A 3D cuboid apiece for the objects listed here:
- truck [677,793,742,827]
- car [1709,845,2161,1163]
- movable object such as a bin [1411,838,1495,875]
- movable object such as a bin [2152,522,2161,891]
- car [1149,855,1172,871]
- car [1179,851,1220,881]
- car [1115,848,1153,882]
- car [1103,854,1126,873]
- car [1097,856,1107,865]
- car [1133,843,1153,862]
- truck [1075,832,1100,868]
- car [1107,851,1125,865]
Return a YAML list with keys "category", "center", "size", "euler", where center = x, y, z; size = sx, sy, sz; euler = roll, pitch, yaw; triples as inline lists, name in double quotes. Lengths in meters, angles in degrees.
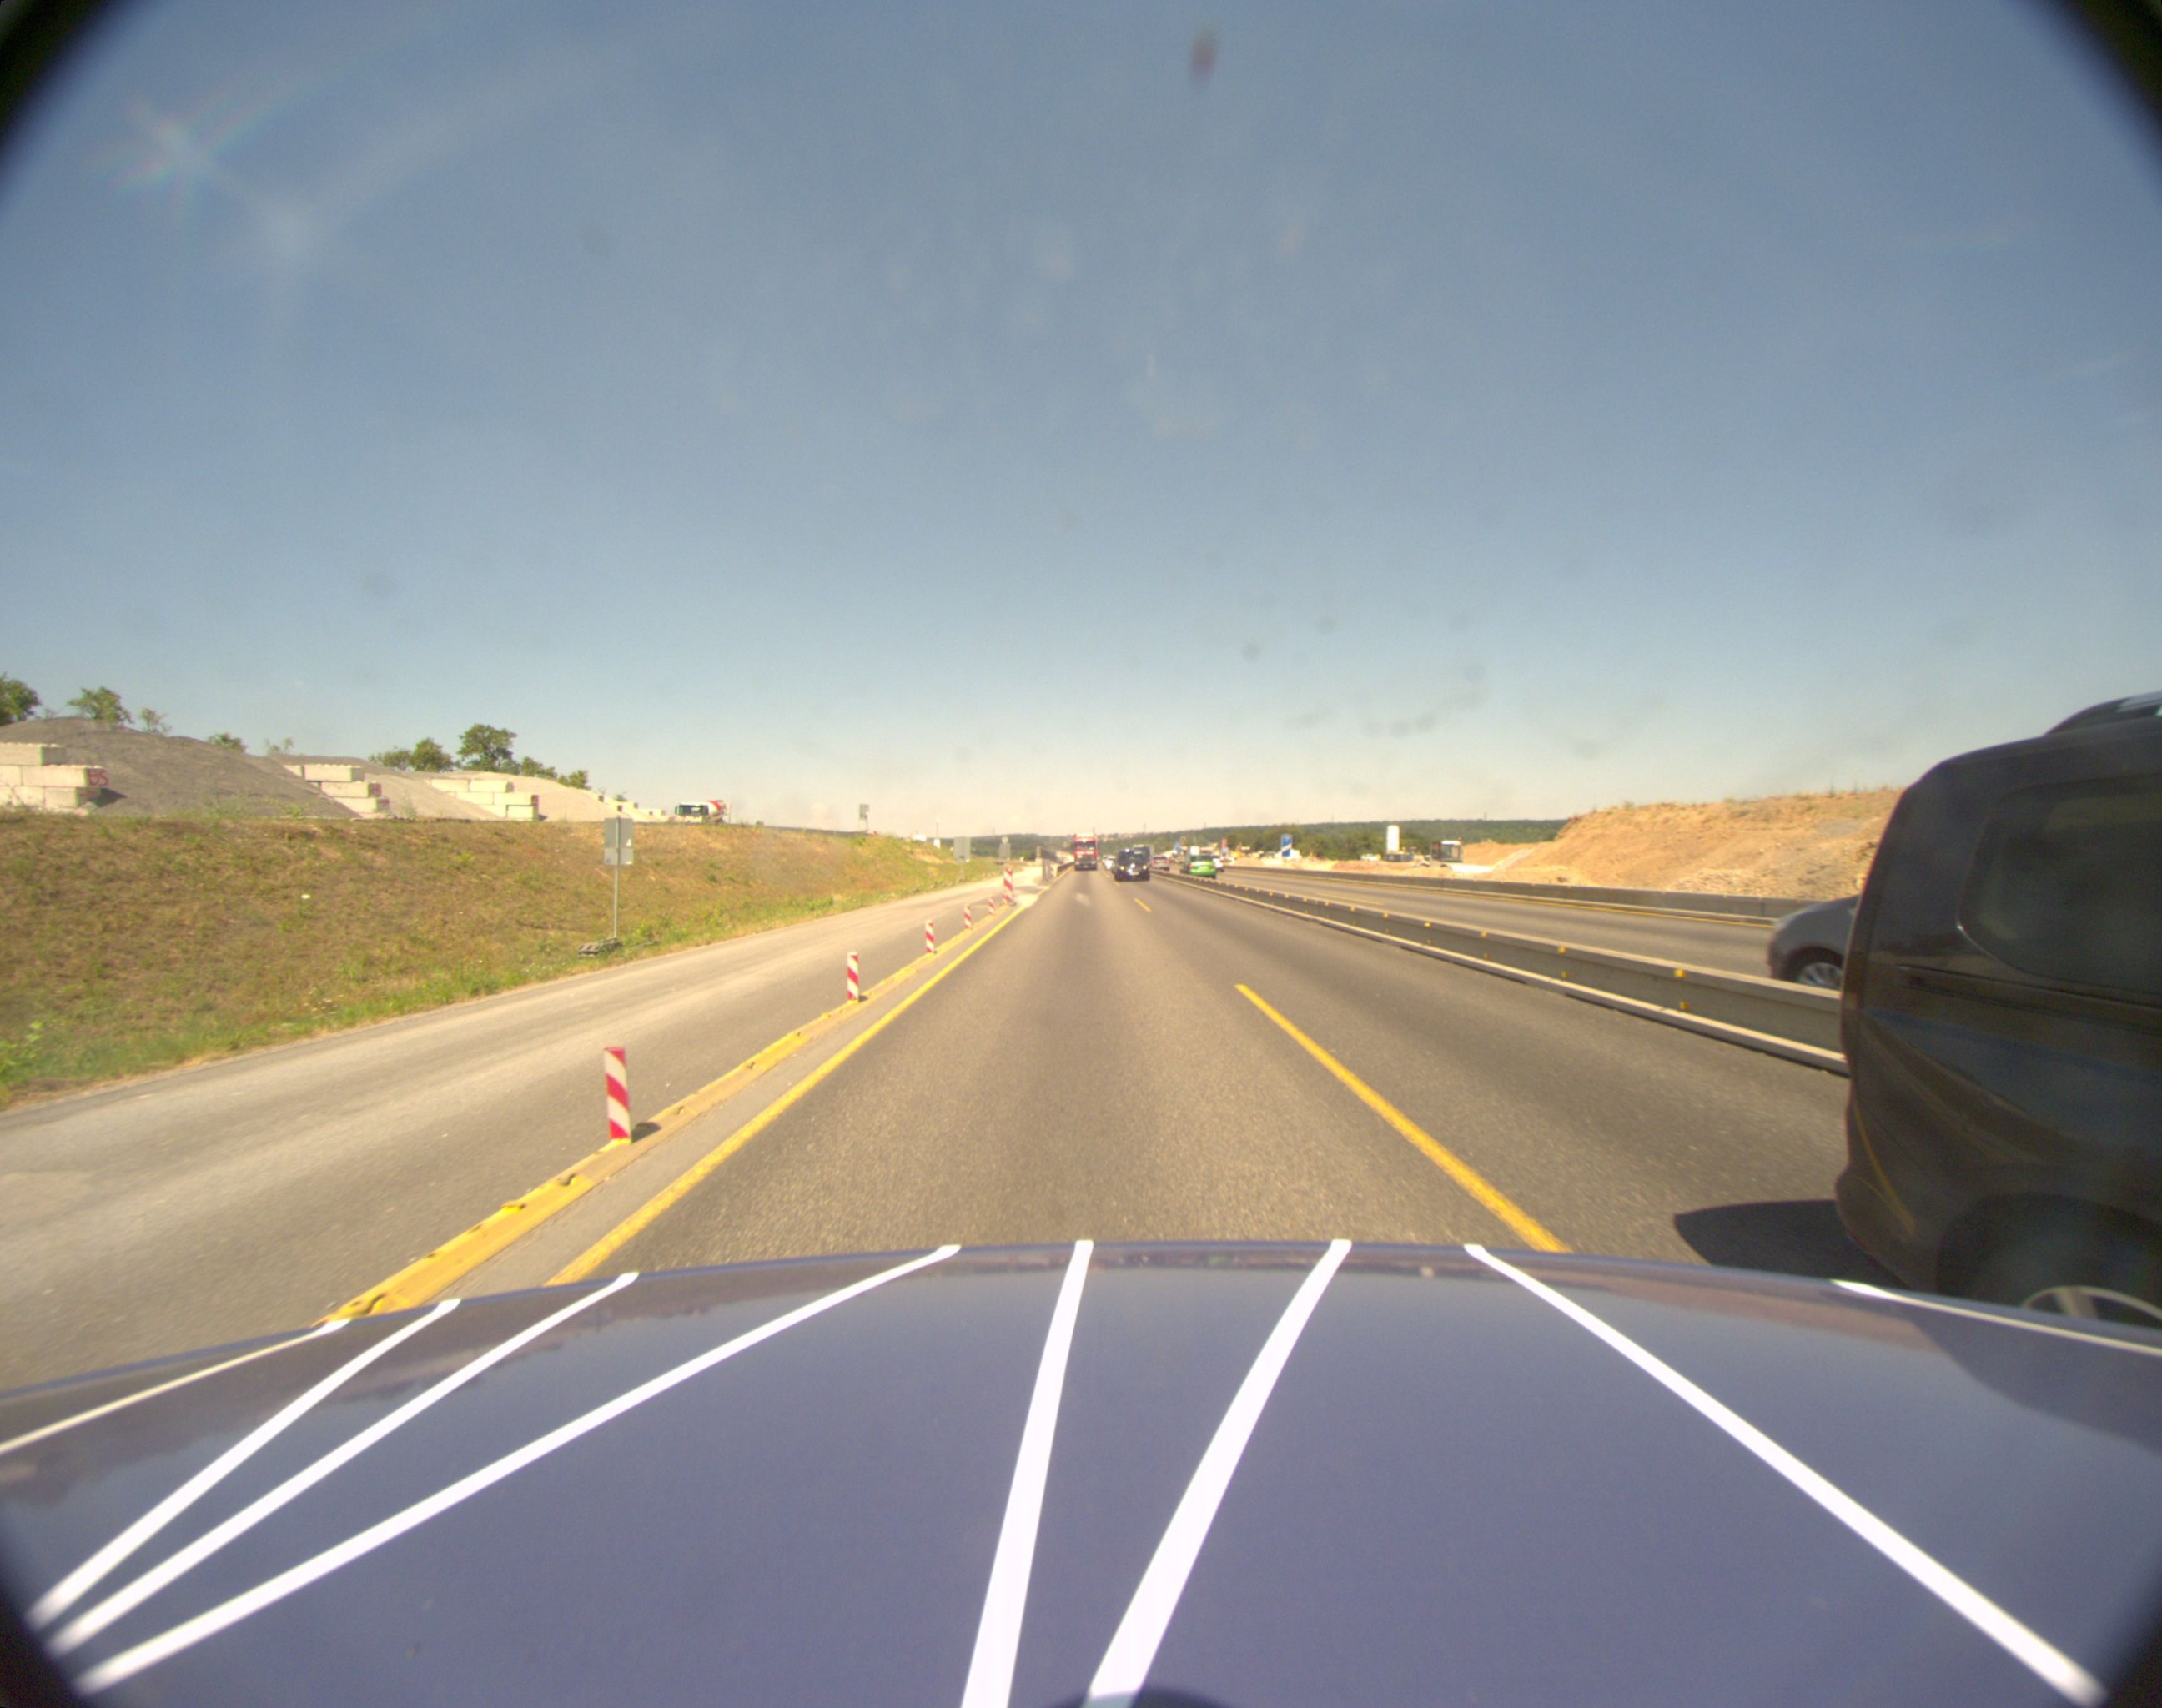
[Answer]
- category: "truck"
  center: [-36.384, -4.202, 74.812]
  size: [2.223, 2.803, 9.061]
  euler: [-2, 1, -2]
- category: "car"
  center: [6.311, 0.750, 4.446]
  size: [1.770, 1.556, 4.225]
  euler: [-2, 0, 1]
- category: "movable object such as a bin"
  center: [23.491, 0.129, 48.338]
  size: [2.321, 2.122, 6.143]
  euler: [-2, 1, 1]
- category: "movable object such as a bin"
  center: [24.451, -2.939, 12.659]
  size: [7.378, 7.073, 4.081]
  euler: [-2, 1, 1]
- category: "car"
  center: [7.162, 0.796, 68.564]
  size: [1.707, 1.393, 3.406]
  euler: [-2, 0, 1]
- category: "car"
  center: [6.574, 0.650, 42.440]
  size: [1.697, 1.517, 3.406]
  euler: [-2, 0, 1]
- category: "car"
  center: [3.147, 0.625, 46.065]
  size: [1.878, 1.840, 5.478]
  euler: [-2, 1, 1]
- category: "car"
  center: [2.828, 0.799, 65.302]
  size: [1.804, 1.499, 4.100]
  euler: [-2, 0, 0]
- category: "car"
  center: [3.626, 1.182, 130.801]
  size: [1.601, 1.390, 3.695]
  euler: [-2, 1, 1]
- category: "car"
  center: [7.144, -0.194, 88.250]
  size: [1.998, 2.002, 3.999]
  euler: [-2, 1, 1]
- category: "truck"
  center: [0.785, -0.494, 85.923]
  size: [2.537, 3.798, 9.481]
  euler: [-2, 1, 2]
- category: "car"
  center: [3.941, 0.462, 85.261]
  size: [1.875, 1.390, 4.030]
  euler: [-2, 1, 1]
